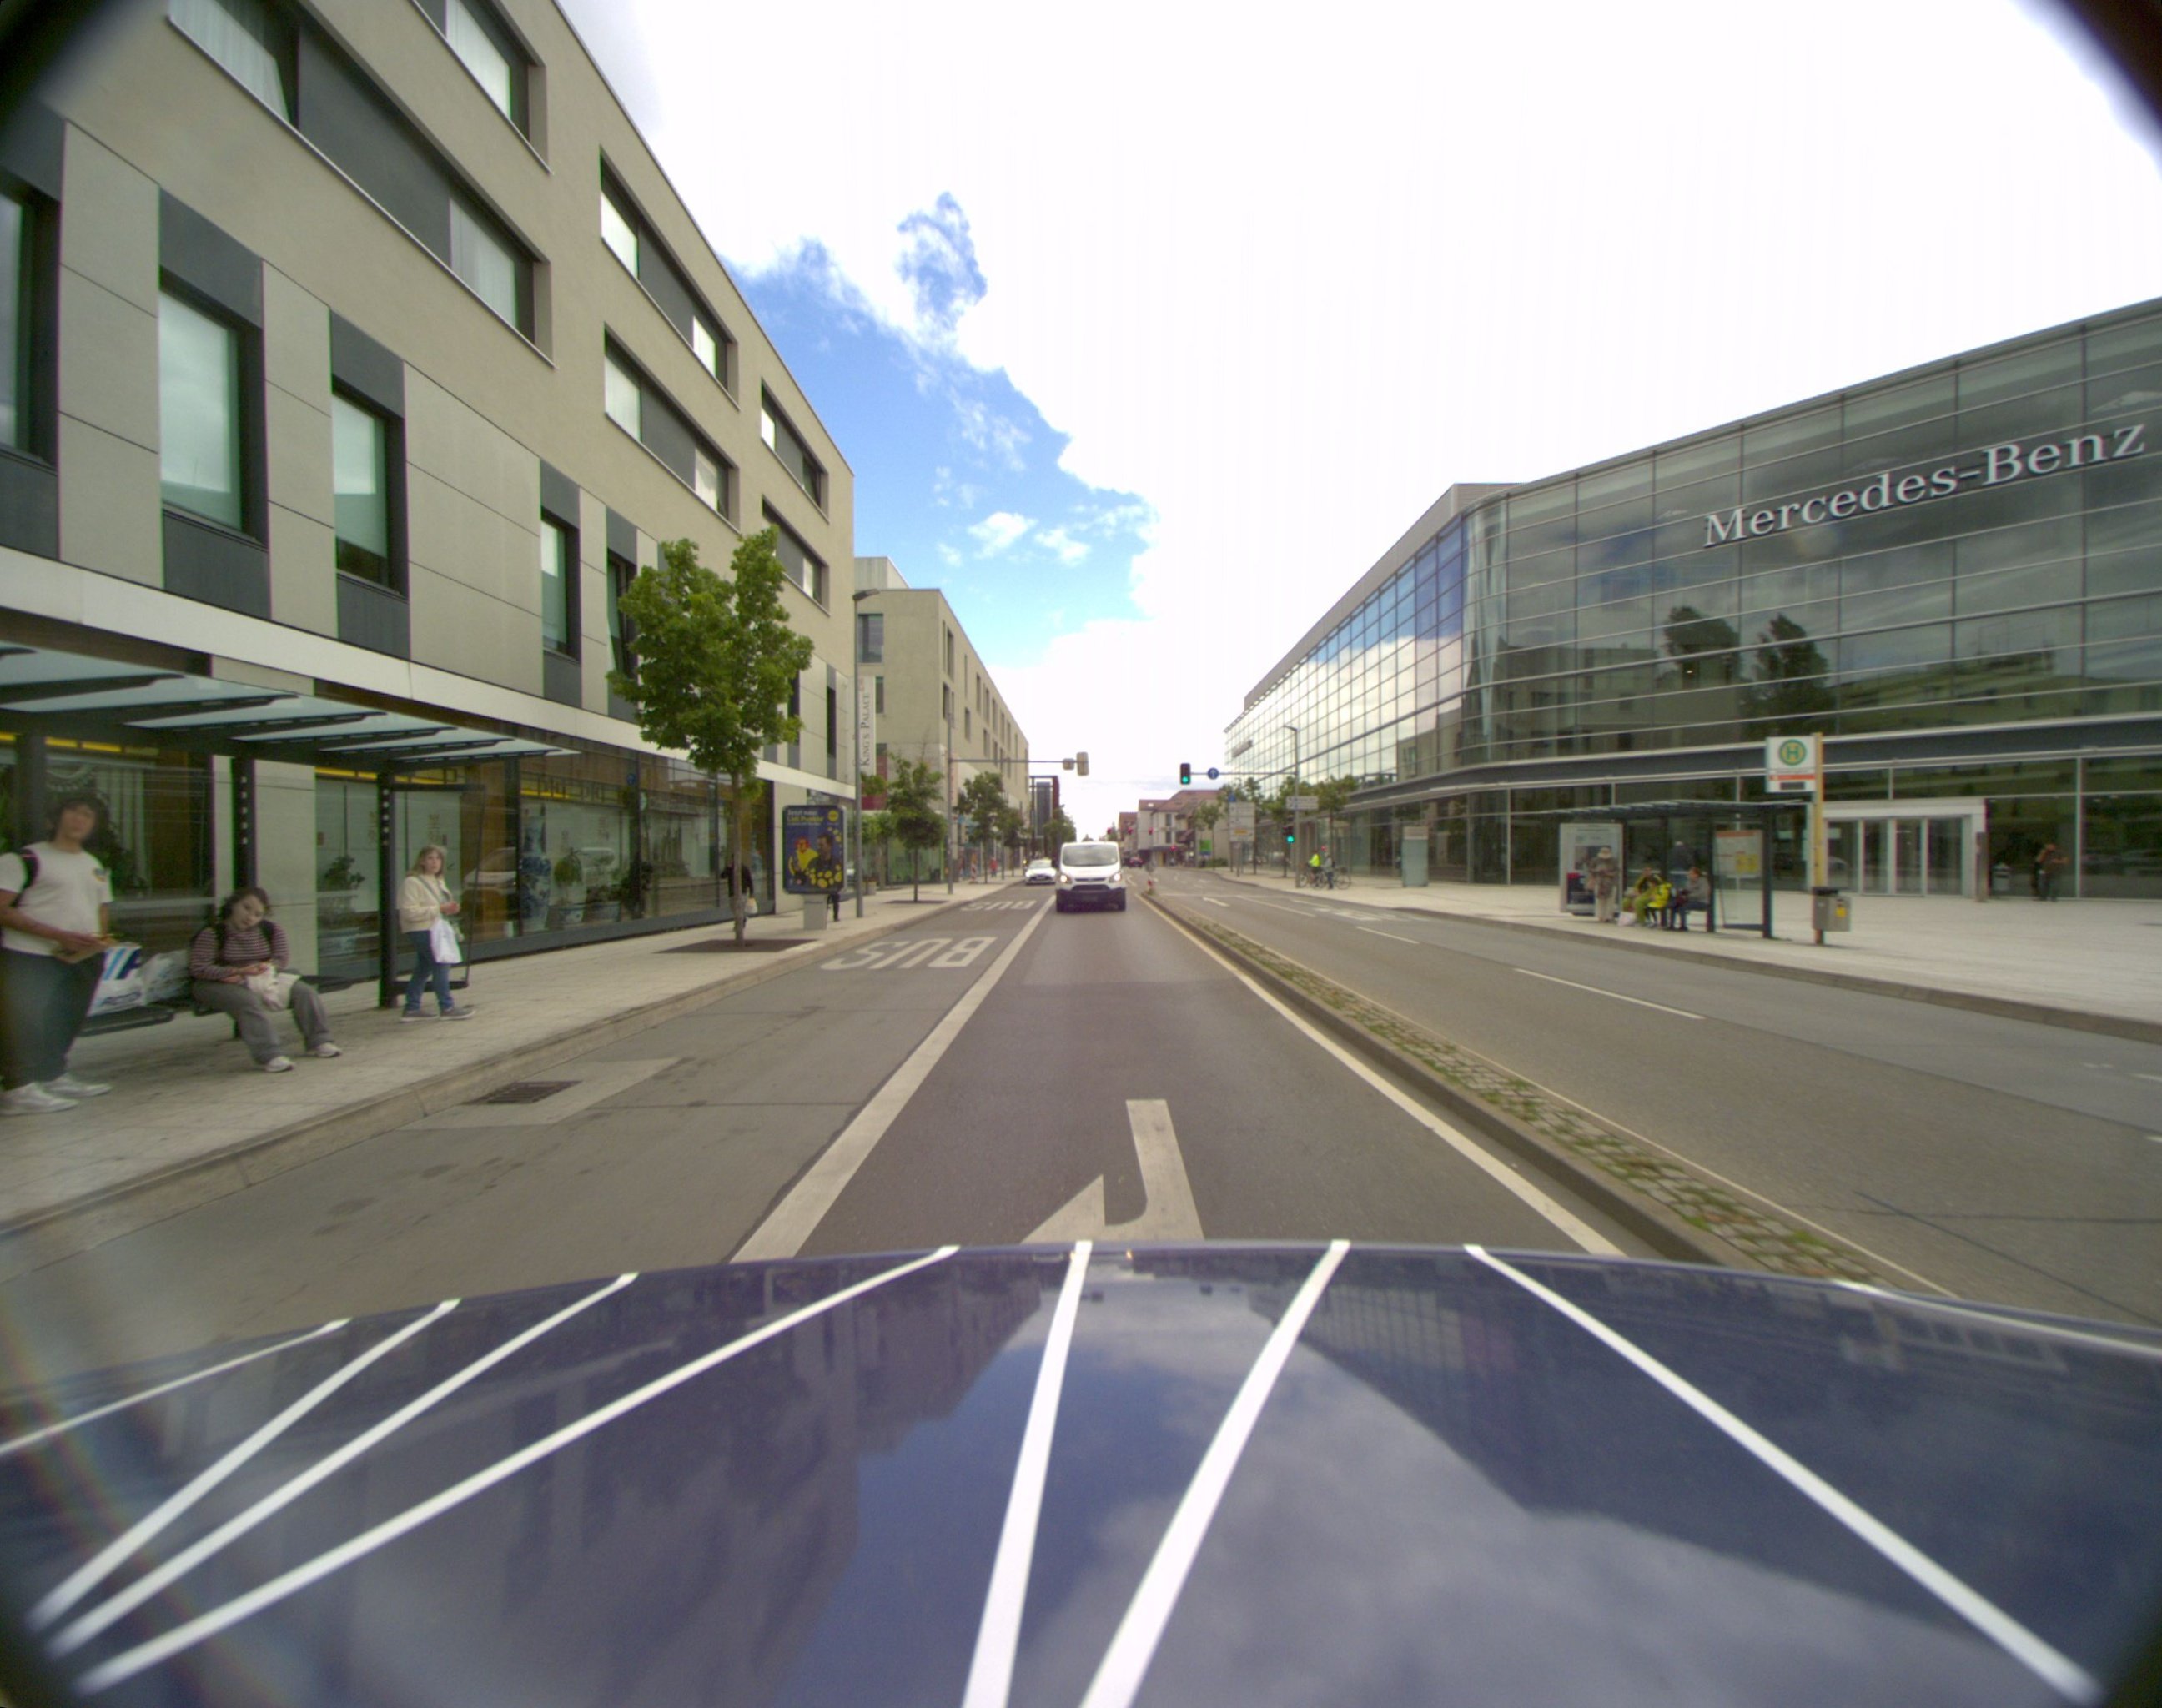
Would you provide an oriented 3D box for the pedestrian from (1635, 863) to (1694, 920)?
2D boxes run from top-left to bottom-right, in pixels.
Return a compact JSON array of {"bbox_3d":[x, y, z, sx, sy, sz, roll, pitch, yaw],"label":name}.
[{"bbox_3d":[11.573,0.730,15.079,0.686,1.069,0.576,2,1,-1],"label":"pedestrian"}]

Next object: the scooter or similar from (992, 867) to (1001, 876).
[{"bbox_3d":[-6.326,1.335,56.938,0.552,0.630,0.767,1,0,1],"label":"scooter or similar"}]

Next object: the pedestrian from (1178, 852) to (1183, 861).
[{"bbox_3d":[15.797,0.363,120.762,0.555,1.507,0.582,0,1,-32],"label":"pedestrian"}]

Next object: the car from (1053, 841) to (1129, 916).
[{"bbox_3d":[0.302,0.639,23.182,2.000,1.976,5.000,-2,1,1],"label":"car"}]

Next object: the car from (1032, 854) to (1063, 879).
[{"bbox_3d":[-2.228,0.800,51.671,1.741,1.533,4.790,-2,1,1],"label":"car"}]

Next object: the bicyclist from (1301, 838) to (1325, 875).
[{"bbox_3d":[11.445,0.108,37.479,0.772,1.790,0.749,-2,1,45],"label":"bicyclist"}]

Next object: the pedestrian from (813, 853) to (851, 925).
[{"bbox_3d":[-5.854,0.803,17.880,0.656,1.659,0.614,0,1,1],"label":"pedestrian"}]

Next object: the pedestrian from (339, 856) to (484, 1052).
[{"bbox_3d":[-5.772,0.819,6.589,0.580,1.581,0.733,1,1,6],"label":"pedestrian"}]

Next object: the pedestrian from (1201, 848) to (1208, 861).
[{"bbox_3d":[14.941,0.095,91.809,0.702,1.614,0.693,0,1,1],"label":"pedestrian"}]

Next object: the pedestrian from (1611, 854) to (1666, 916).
[{"bbox_3d":[11.507,0.630,15.696,0.686,1.246,0.576,0,1,-1],"label":"pedestrian"}]

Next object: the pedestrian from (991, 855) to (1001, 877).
[{"bbox_3d":[-6.299,0.891,56.130,0.590,1.558,0.732,1,1,1],"label":"pedestrian"}]

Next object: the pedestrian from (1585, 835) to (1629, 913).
[{"bbox_3d":[11.293,0.419,16.311,0.688,1.622,0.574,0,1,-40],"label":"pedestrian"}]

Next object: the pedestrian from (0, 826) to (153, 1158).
[{"bbox_3d":[-5.981,0.725,4.215,0.580,1.759,0.856,1,1,6],"label":"pedestrian"}]

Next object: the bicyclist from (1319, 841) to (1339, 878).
[{"bbox_3d":[11.283,0.236,34.600,0.783,1.639,0.639,-2,1,16],"label":"bicyclist"}]

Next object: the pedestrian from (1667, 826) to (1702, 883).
[{"bbox_3d":[20.939,0.019,26.373,0.904,1.934,0.748,-2,1,-38],"label":"pedestrian"}]

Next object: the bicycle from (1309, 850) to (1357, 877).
[{"bbox_3d":[11.432,0.439,34.560,2.002,1.124,0.639,-2,1,16],"label":"bicycle"}]

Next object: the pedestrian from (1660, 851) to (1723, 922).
[{"bbox_3d":[11.561,0.605,14.406,0.686,1.312,0.576,1,1,-1],"label":"pedestrian"}]

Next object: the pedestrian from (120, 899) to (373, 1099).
[{"bbox_3d":[-5.790,0.975,5.331,0.945,1.252,0.732,1,1,-2],"label":"pedestrian"}]

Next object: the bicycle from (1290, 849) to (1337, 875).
[{"bbox_3d":[11.458,0.416,37.483,2.025,1.199,0.749,-2,1,45],"label":"bicycle"}]

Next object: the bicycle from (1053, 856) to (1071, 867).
[{"bbox_3d":[-1.881,0.768,76.456,1.745,1.093,0.561,2,0,-6],"label":"bicycle"}]

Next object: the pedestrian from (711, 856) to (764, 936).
[{"bbox_3d":[-6.989,0.838,15.491,0.742,1.599,0.714,0,1,1],"label":"pedestrian"}]

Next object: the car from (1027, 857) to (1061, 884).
[{"bbox_3d":[-2.172,0.932,45.235,1.787,1.417,4.514,-1,1,0],"label":"car"}]

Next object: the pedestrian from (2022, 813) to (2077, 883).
[{"bbox_3d":[27.650,-0.173,21.705,0.687,1.934,0.749,-2,1,-12],"label":"pedestrian"}]
